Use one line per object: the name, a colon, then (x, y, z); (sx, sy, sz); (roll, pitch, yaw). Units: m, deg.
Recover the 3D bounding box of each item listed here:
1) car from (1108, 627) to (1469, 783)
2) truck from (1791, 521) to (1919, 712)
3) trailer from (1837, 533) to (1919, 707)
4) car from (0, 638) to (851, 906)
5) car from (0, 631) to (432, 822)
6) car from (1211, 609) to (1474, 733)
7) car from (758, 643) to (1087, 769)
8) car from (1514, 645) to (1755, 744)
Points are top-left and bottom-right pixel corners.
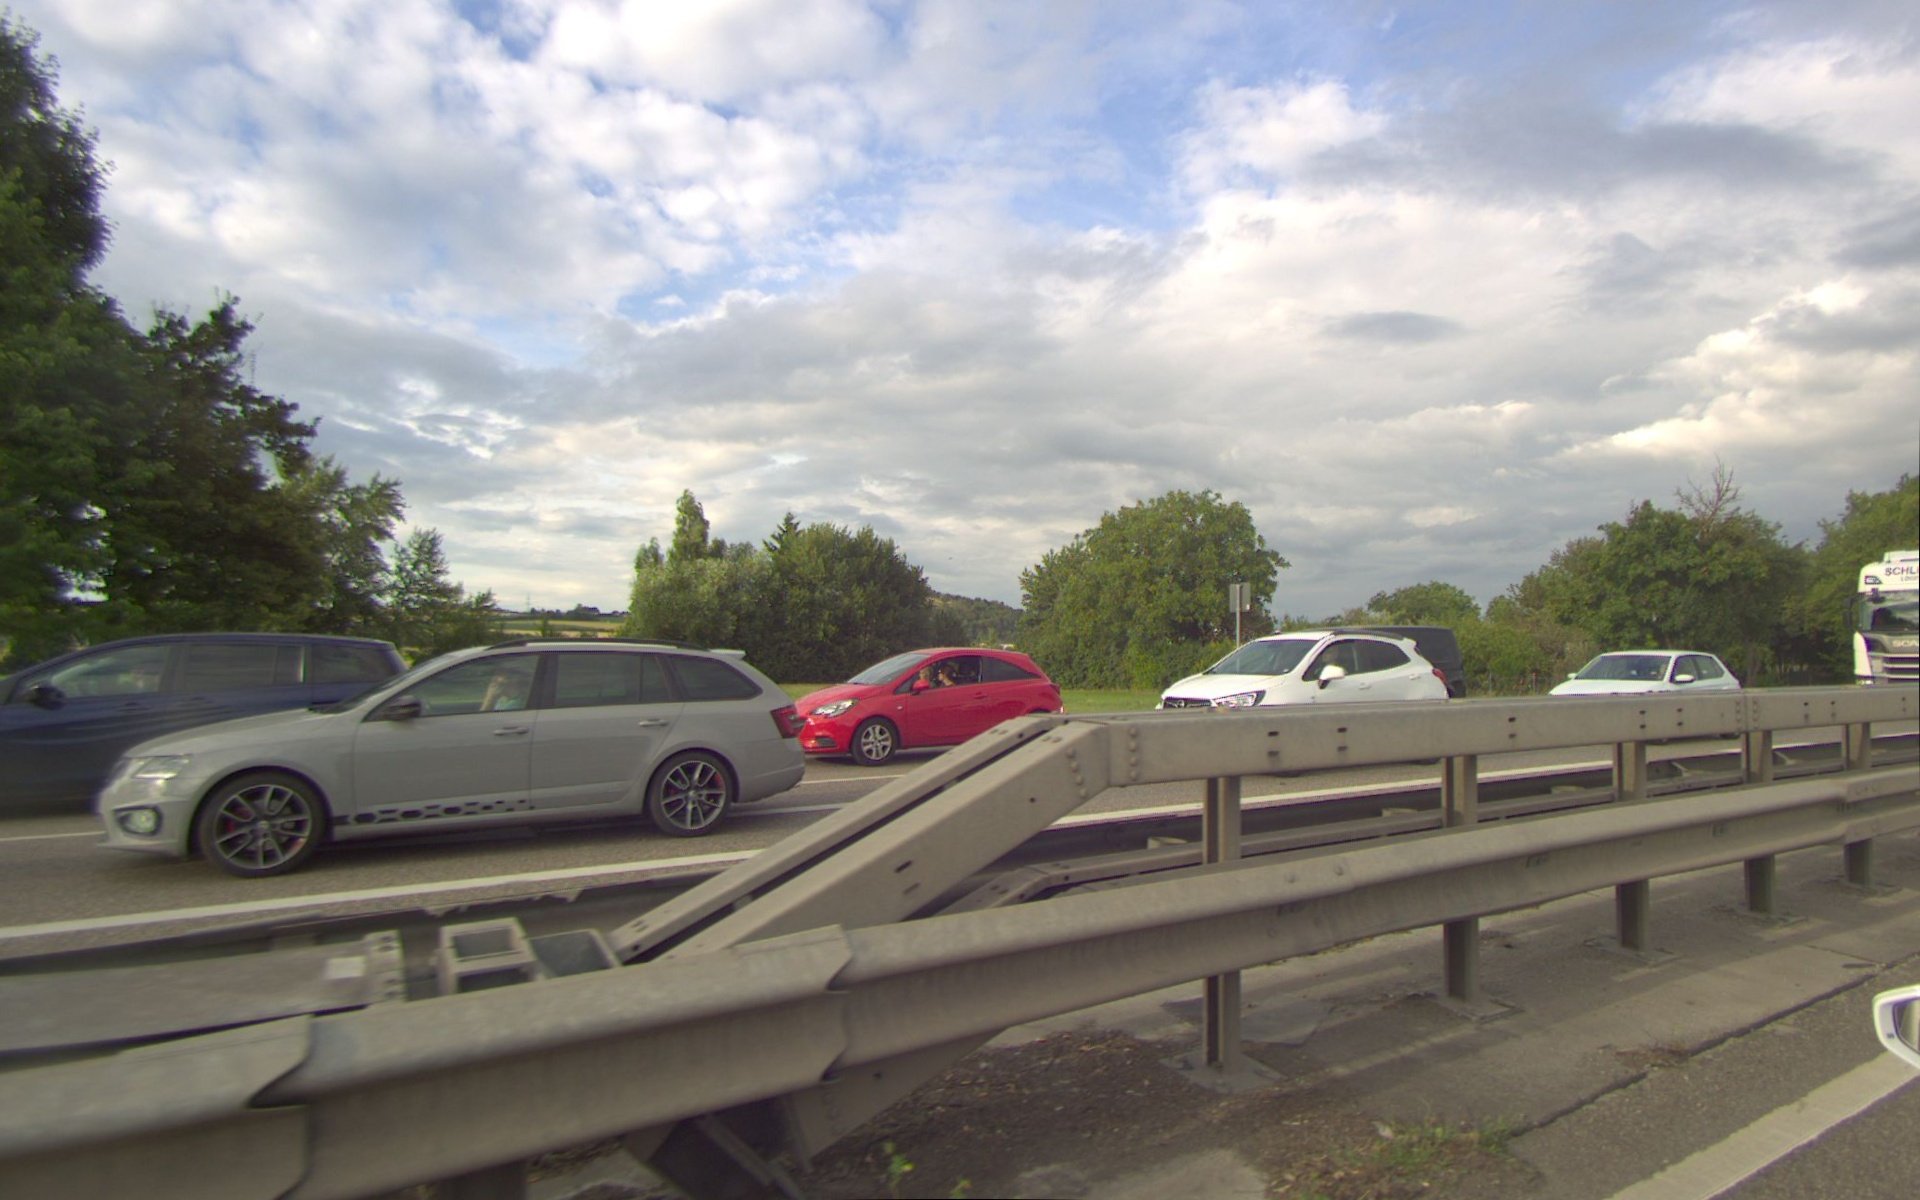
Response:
car: (4.135, 1.181, 12.472); (4.355, 1.631, 1.898); (1, -3, -31)
truck: (23.507, 0.473, 24.184); (5.980, 4.204, 3.458); (2, -4, -31)
trailer: (29.300, 0.651, 27.775); (13.757, 4.204, 3.449); (2, -4, -31)
car: (-3.528, 1.023, 7.567); (5.093, 1.447, 1.898); (1, -3, -31)
car: (-7.714, 1.078, 9.326); (4.882, 1.555, 1.898); (1, -3, -31)
car: (7.181, 1.303, 18.739); (4.889, 2.040, 1.984); (2, -4, -31)
car: (-0.473, 1.338, 13.771); (4.136, 1.484, 1.898); (1, -3, -31)
car: (11.291, 1.487, 16.762); (4.113, 1.463, 1.780); (1, -3, -31)
